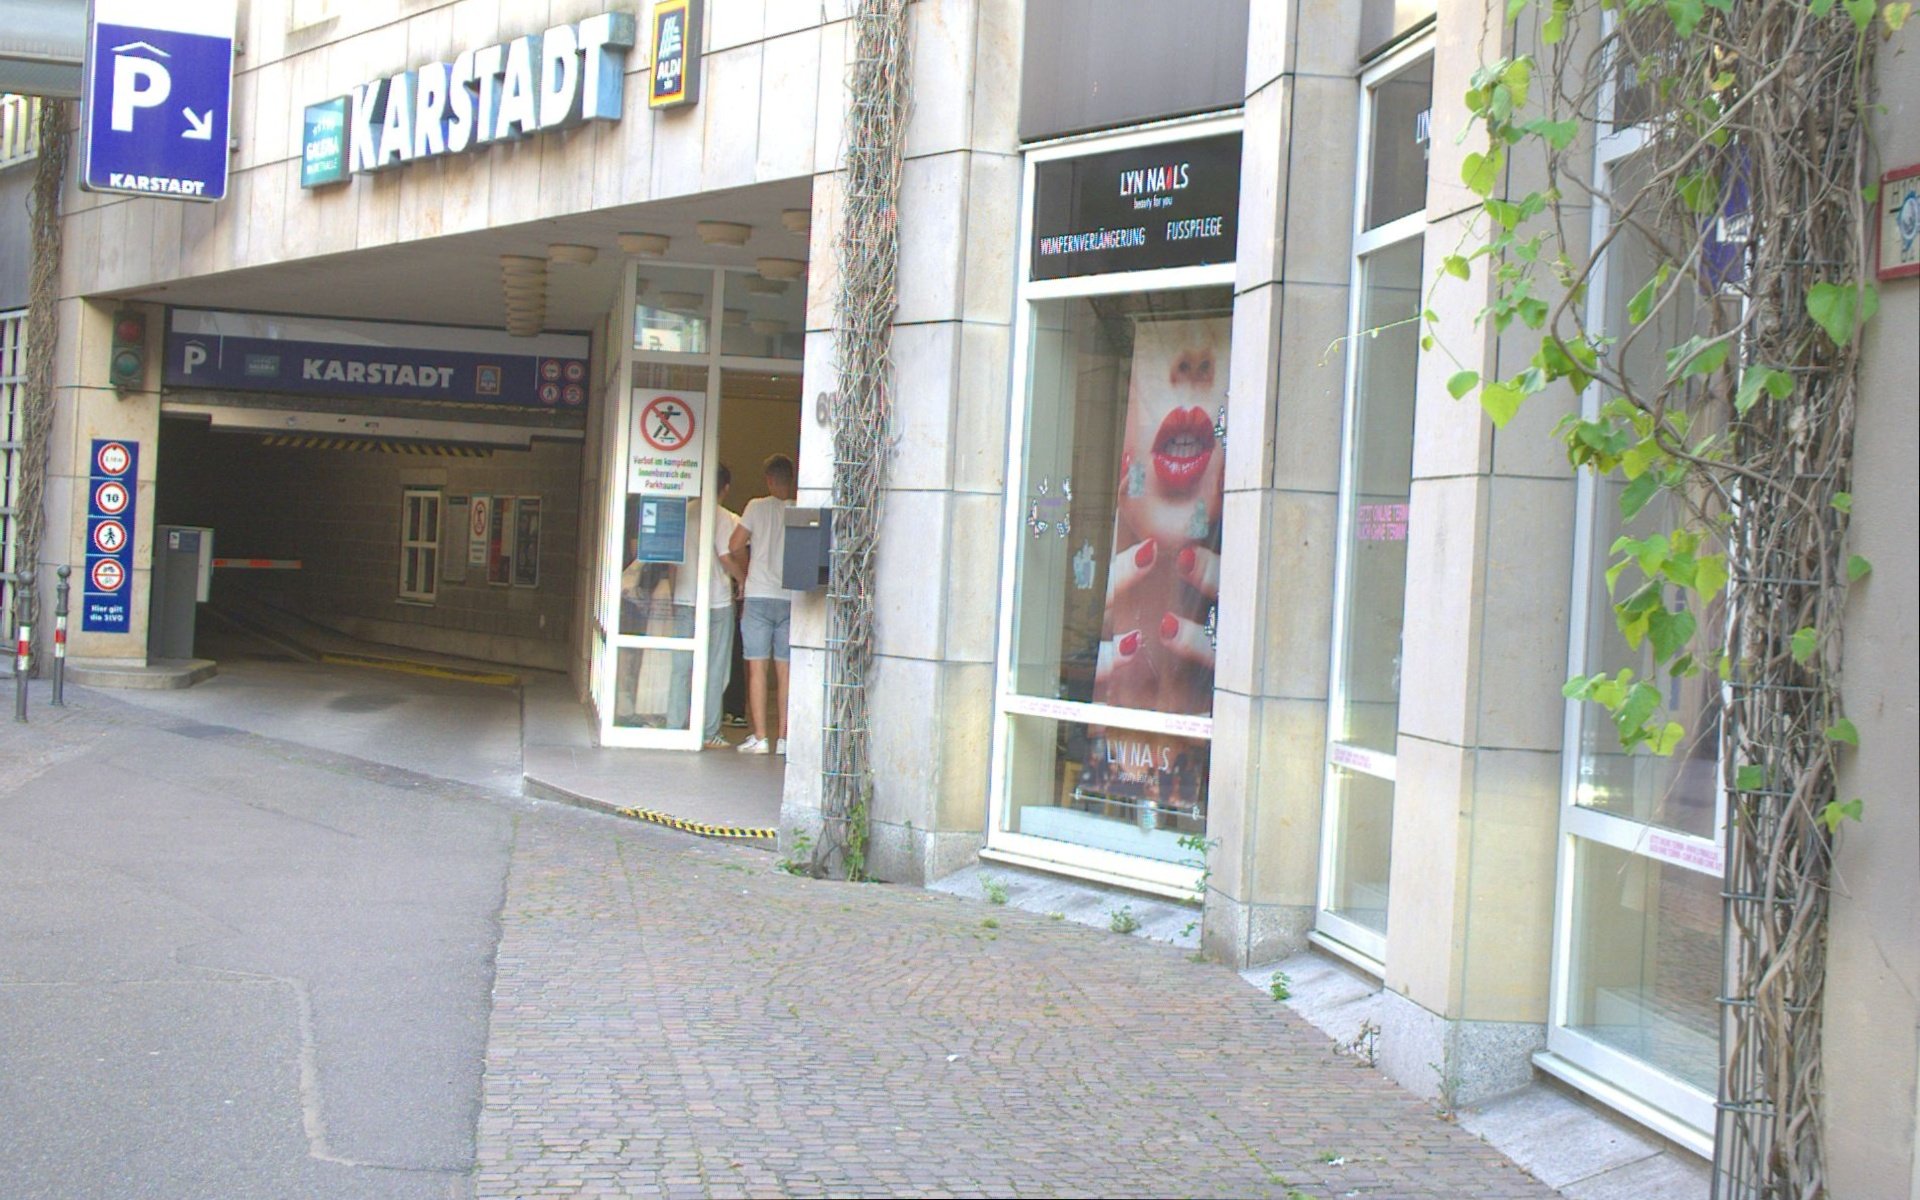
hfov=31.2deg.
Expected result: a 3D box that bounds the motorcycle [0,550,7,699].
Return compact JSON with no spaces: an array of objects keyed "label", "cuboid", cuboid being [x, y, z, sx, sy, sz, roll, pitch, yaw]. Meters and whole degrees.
[{"label":"motorcycle","cuboid":[-8.327,0.174,26.628,1.745,1.151,0.594,1,1,-24]}]

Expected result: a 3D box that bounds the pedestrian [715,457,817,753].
[{"label":"pedestrian","cuboid":[-1.237,0.026,21.990,0.542,1.855,0.408,3,1,-1]}]

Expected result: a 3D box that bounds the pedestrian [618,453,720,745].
[{"label":"pedestrian","cuboid":[-1.871,-0.010,22.140,0.542,1.840,0.408,3,1,-1]}]
